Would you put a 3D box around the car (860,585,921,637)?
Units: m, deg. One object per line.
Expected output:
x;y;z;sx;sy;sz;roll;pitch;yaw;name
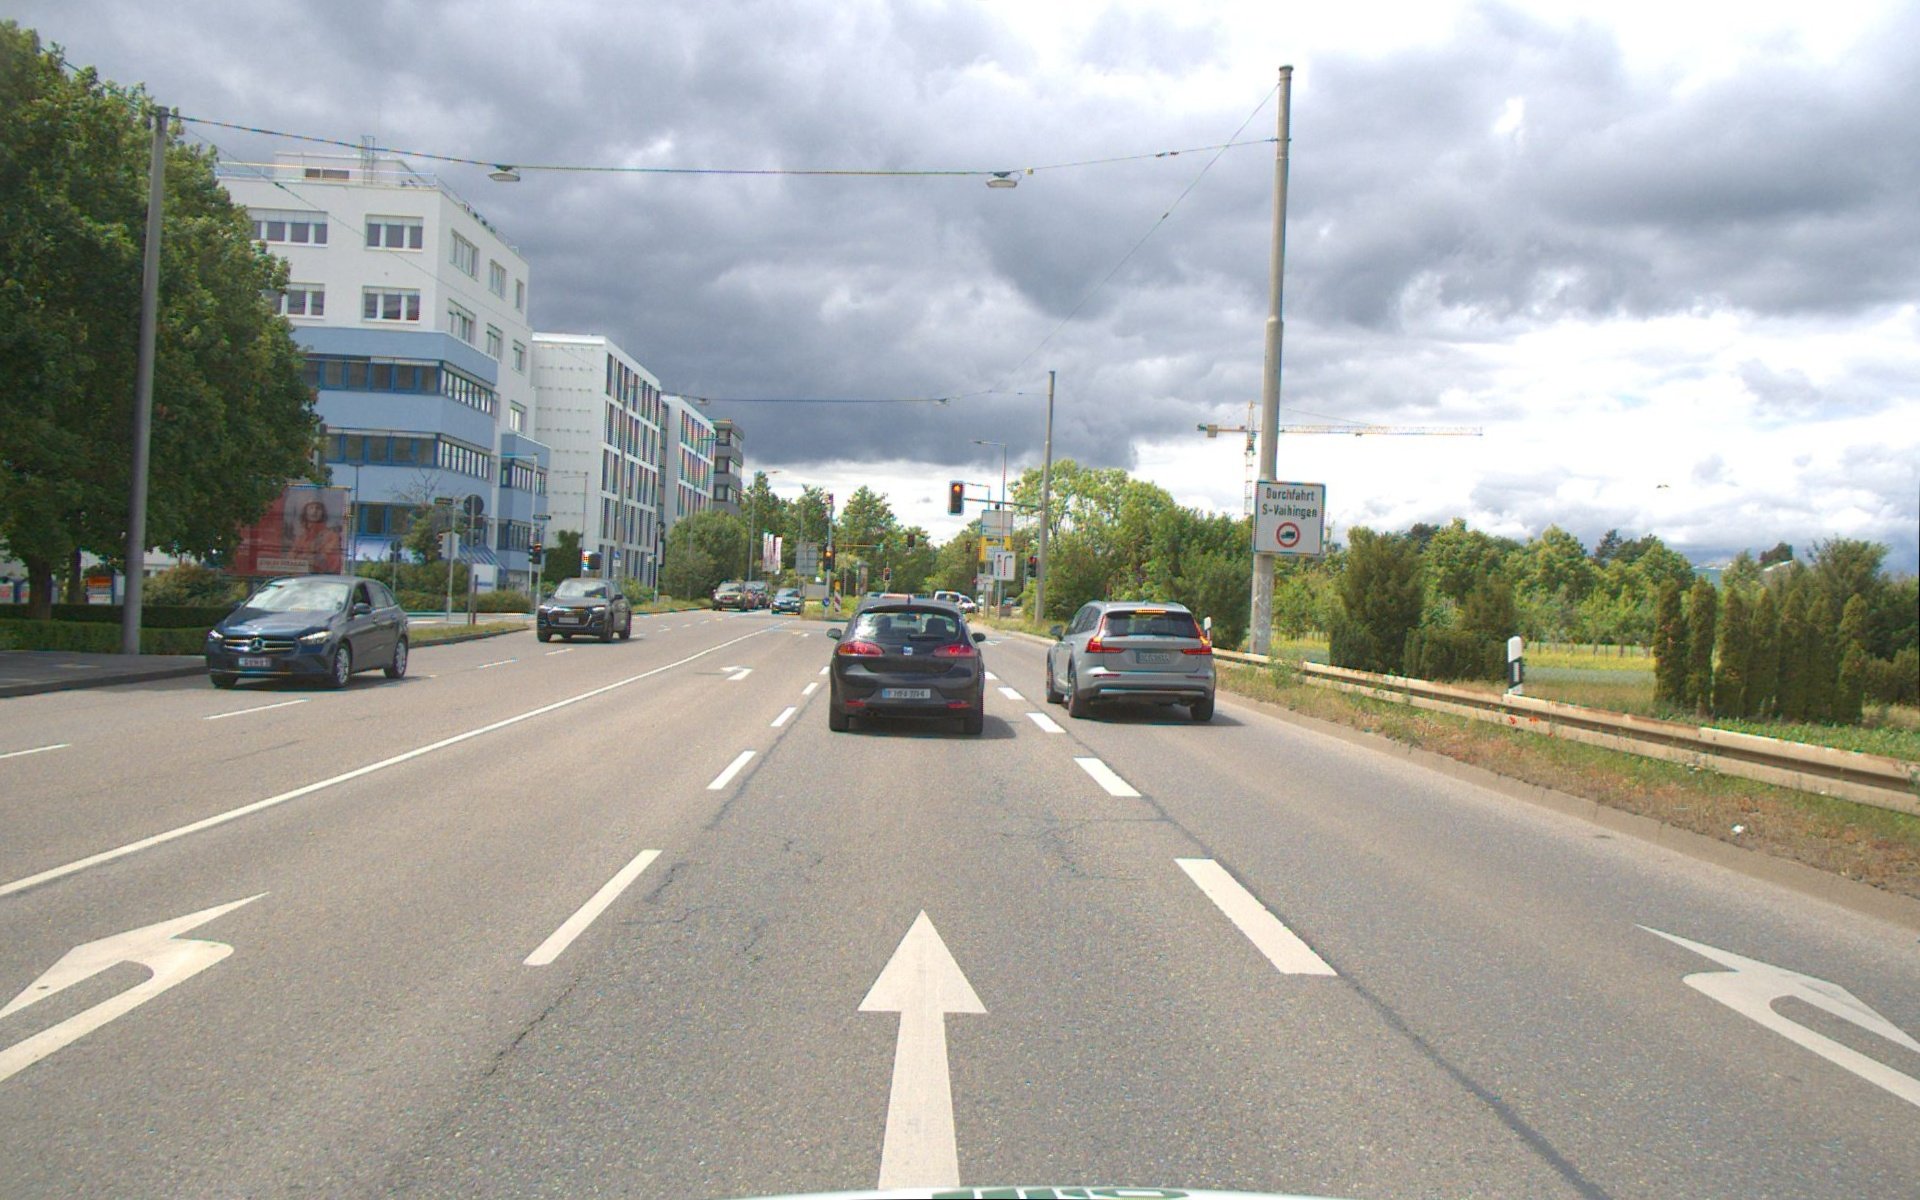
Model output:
-2.446;0.360;57.481;1.944;1.618;4.223;3;1;-4;car

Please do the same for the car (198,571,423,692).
-9.427;0.425;24.394;1.760;1.613;4.311;1;0;-3;car

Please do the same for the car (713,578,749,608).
-13.077;-0.370;94.570;1.716;1.659;3.998;0;0;-3;car

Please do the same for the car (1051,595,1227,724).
2.295;0.741;22.297;1.918;1.552;4.340;1;0;0;car

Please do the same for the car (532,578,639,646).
-9.845;0.315;43.824;1.830;1.643;4.570;2;0;-1;car

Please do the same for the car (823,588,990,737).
-0.544;0.668;19.280;1.712;1.510;4.000;1;0;0;car

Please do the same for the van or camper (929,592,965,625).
-0.836;0.514;106.214;1.862;1.959;3.996;4;0;-5;van or camper

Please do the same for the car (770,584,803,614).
-9.770;-0.080;93.324;1.635;1.551;4.006;0;1;-3;car
